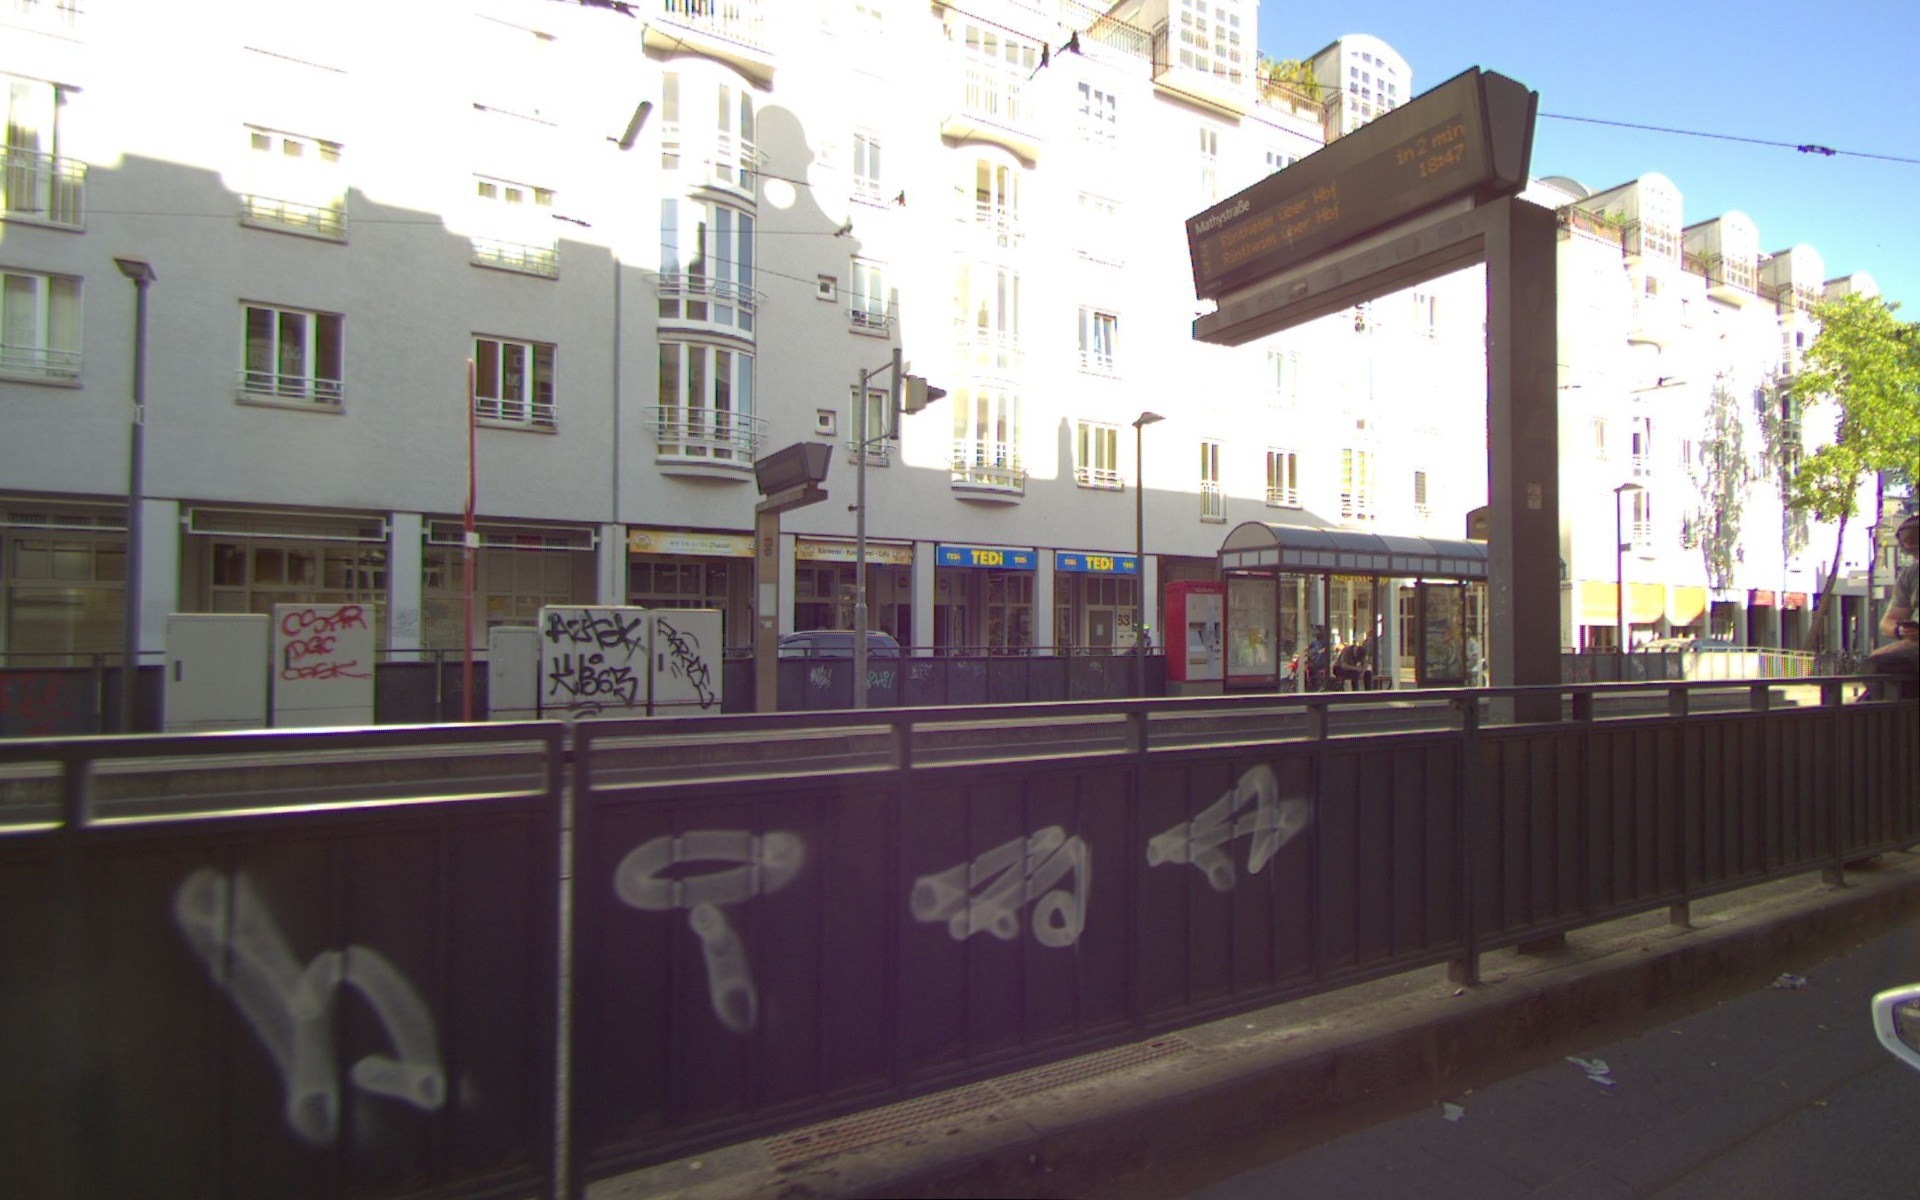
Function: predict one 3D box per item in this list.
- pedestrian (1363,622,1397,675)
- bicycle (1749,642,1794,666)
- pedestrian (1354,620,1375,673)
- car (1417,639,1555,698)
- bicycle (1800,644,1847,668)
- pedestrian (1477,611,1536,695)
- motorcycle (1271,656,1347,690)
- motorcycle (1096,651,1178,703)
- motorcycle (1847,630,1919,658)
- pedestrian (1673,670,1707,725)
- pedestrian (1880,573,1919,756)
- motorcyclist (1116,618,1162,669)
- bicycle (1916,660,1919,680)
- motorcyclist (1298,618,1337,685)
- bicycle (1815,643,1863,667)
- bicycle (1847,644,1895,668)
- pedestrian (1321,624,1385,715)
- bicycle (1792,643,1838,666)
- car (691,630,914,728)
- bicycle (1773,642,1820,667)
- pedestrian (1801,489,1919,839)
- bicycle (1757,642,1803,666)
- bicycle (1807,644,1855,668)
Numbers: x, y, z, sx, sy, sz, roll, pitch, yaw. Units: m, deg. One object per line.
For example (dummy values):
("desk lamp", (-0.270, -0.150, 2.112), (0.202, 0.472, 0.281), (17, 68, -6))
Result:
("pedestrian", (13.276, 1.525, 31.756), (0.835, 1.642, 0.593), (1, -2, -30))
("bicycle", (33.527, 2.229, 41.492), (1.465, 0.953, 0.393), (0, -2, 6))
("pedestrian", (12.996, 1.500, 32.286), (0.486, 1.686, 0.359), (2, -1, -29))
("car", (14.387, 1.821, 27.442), (3.602, 1.440, 1.684), (0, -1, -30))
("bicycle", (35.003, 2.265, 40.736), (1.465, 0.953, 0.393), (0, -2, 6))
("pedestrian", (10.529, 1.001, 19.362), (0.734, 1.579, 0.727), (0, -1, -31))
("motorcycle", (8.137, 1.694, 23.377), (1.982, 0.729, 0.491), (2, -1, -30))
("motorcycle", (3.878, 1.679, 21.965), (1.823, 1.088, 0.556), (2, -1, -30))
("motorcycle", (45.122, 2.137, 49.160), (0.661, 1.305, 2.499), (1, -2, -32))
("pedestrian", (21.813, 2.906, 30.016), (0.676, 1.579, 0.577), (0, -1, -31))
("pedestrian", (8.519, 0.559, 8.744), (0.460, 1.582, 0.587), (0, -2, 6))
("motorcyclist", (3.919, 0.945, 21.972), (0.817, 1.088, 0.556), (2, -1, -29))
("bicycle", (38.143, 2.745, 39.273), (1.914, 0.767, 0.564), (1, -2, -30))
("motorcyclist", (8.316, 1.196, 23.382), (0.713, 1.522, 0.484), (2, -1, -29))
("bicycle", (34.910, 2.197, 39.888), (1.465, 0.953, 0.393), (0, -2, 6))
("bicycle", (36.462, 2.253, 40.193), (1.465, 0.953, 0.393), (0, -2, 6))
("pedestrian", (6.855, 1.191, 17.529), (0.734, 1.548, 0.727), (0, -1, -31))
("bicycle", (35.042, 2.226, 41.162), (1.465, 0.953, 0.393), (0, -2, 6))
("car", (-2.800, 1.336, 17.970), (3.602, 1.529, 1.684), (0, -1, -30))
("bicycle", (33.380, 2.175, 40.088), (1.465, 0.953, 0.393), (0, -2, 6))
("pedestrian", (5.075, 0.327, 5.282), (0.920, 1.720, 0.635), (2, -1, -23))
("bicycle", (33.479, 2.212, 41.036), (1.465, 0.953, 0.393), (0, -2, 6))
("bicycle", (34.955, 2.234, 40.321), (1.465, 0.953, 0.393), (0, -2, 6))
